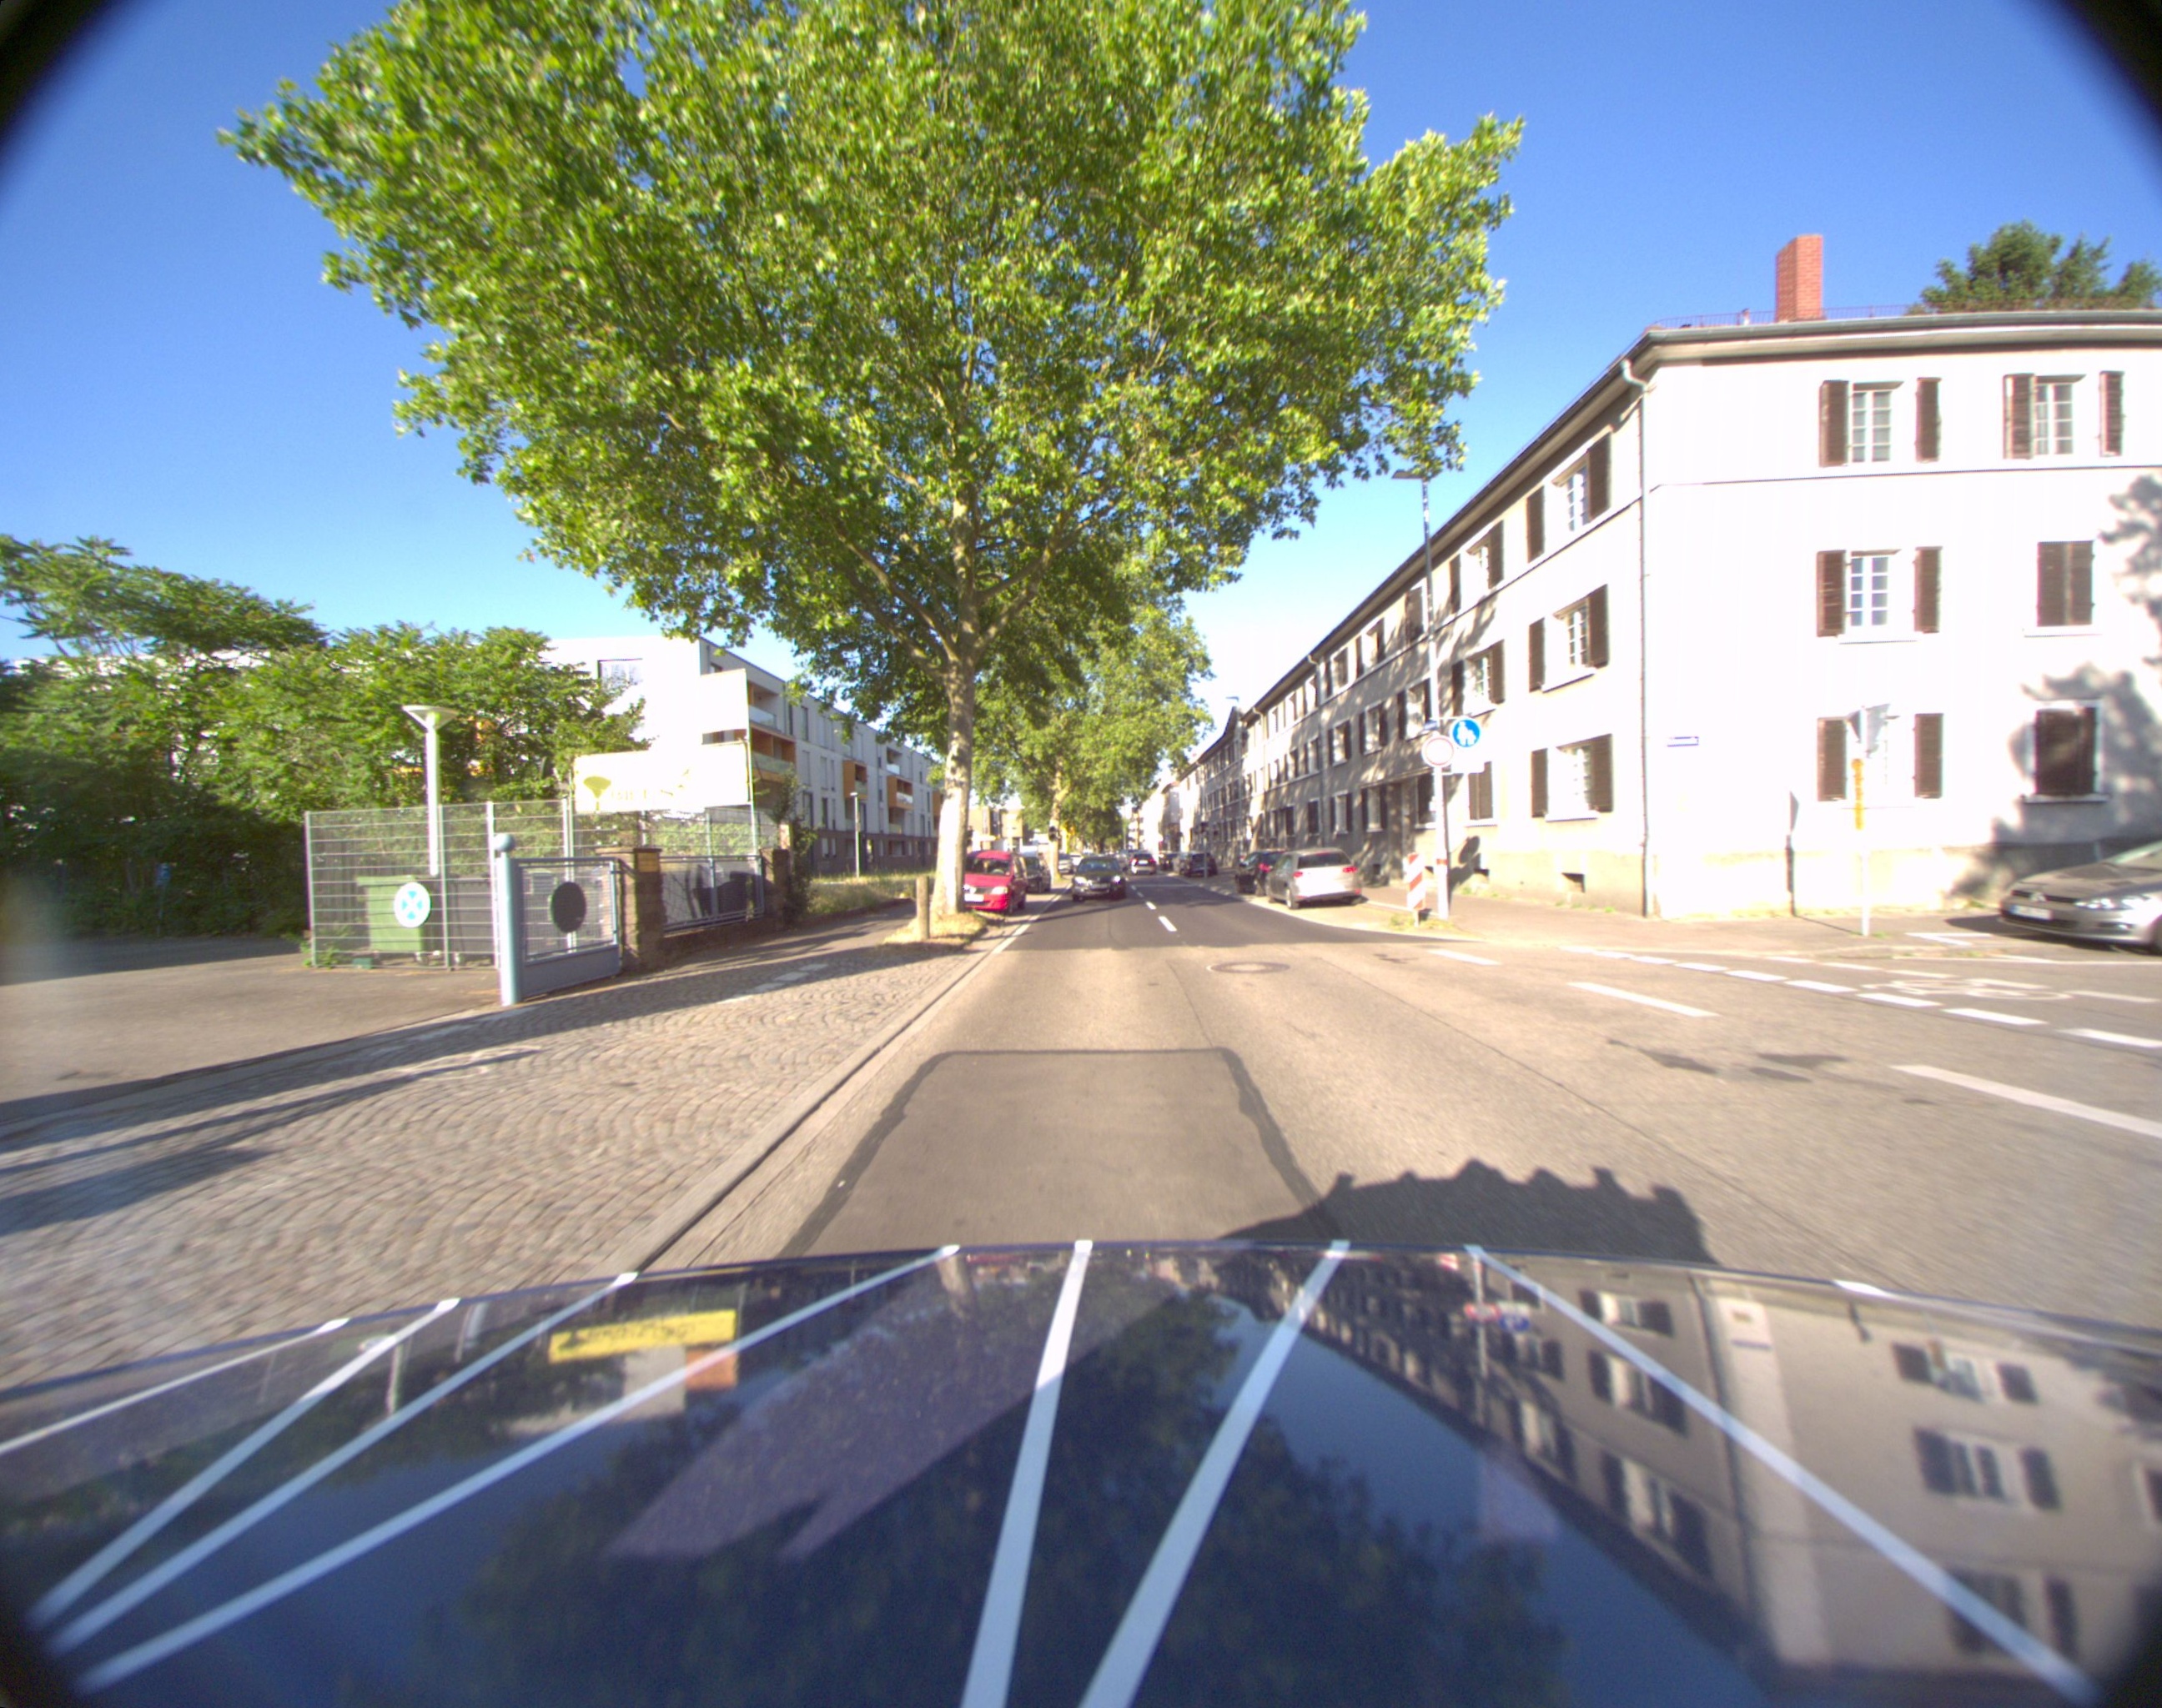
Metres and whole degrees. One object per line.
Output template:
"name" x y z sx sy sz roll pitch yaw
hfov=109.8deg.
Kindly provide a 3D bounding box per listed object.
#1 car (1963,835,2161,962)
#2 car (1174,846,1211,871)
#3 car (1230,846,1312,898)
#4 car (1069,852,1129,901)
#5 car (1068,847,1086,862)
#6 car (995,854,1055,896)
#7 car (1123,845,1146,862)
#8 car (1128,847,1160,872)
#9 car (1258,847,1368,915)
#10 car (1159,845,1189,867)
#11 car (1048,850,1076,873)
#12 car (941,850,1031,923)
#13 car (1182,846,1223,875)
"car" 14.082 0.477 9.250 3.993 1.410 1.916 -2 1 14
"car" 7.404 0.264 50.952 1.870 1.475 4.086 -4 1 1
"car" 6.312 0.535 25.678 1.710 1.498 4.053 -4 1 0
"car" 0.567 0.700 26.268 1.870 1.471 4.086 -2 1 0
"car" -0.415 0.032 84.458 1.885 1.475 4.000 -2 1 2
"car" -2.162 0.772 30.384 1.704 1.472 4.697 1 1 4
"car" 5.000 -0.079 71.517 1.870 1.475 4.086 -1 1 1
"car" 4.270 0.349 51.854 1.901 1.581 4.069 -1 1 1
"car" 5.962 0.617 19.994 1.765 1.475 4.108 -4 1 3
"car" 7.384 0.123 60.691 1.870 1.603 4.086 -3 1 0
"car" -1.377 0.549 56.365 1.869 1.603 4.087 0 1 2
"car" -2.368 0.759 19.984 1.602 1.680 4.337 -1 1 3
"car" 7.126 0.351 44.868 1.869 1.475 4.087 -5 1 4
